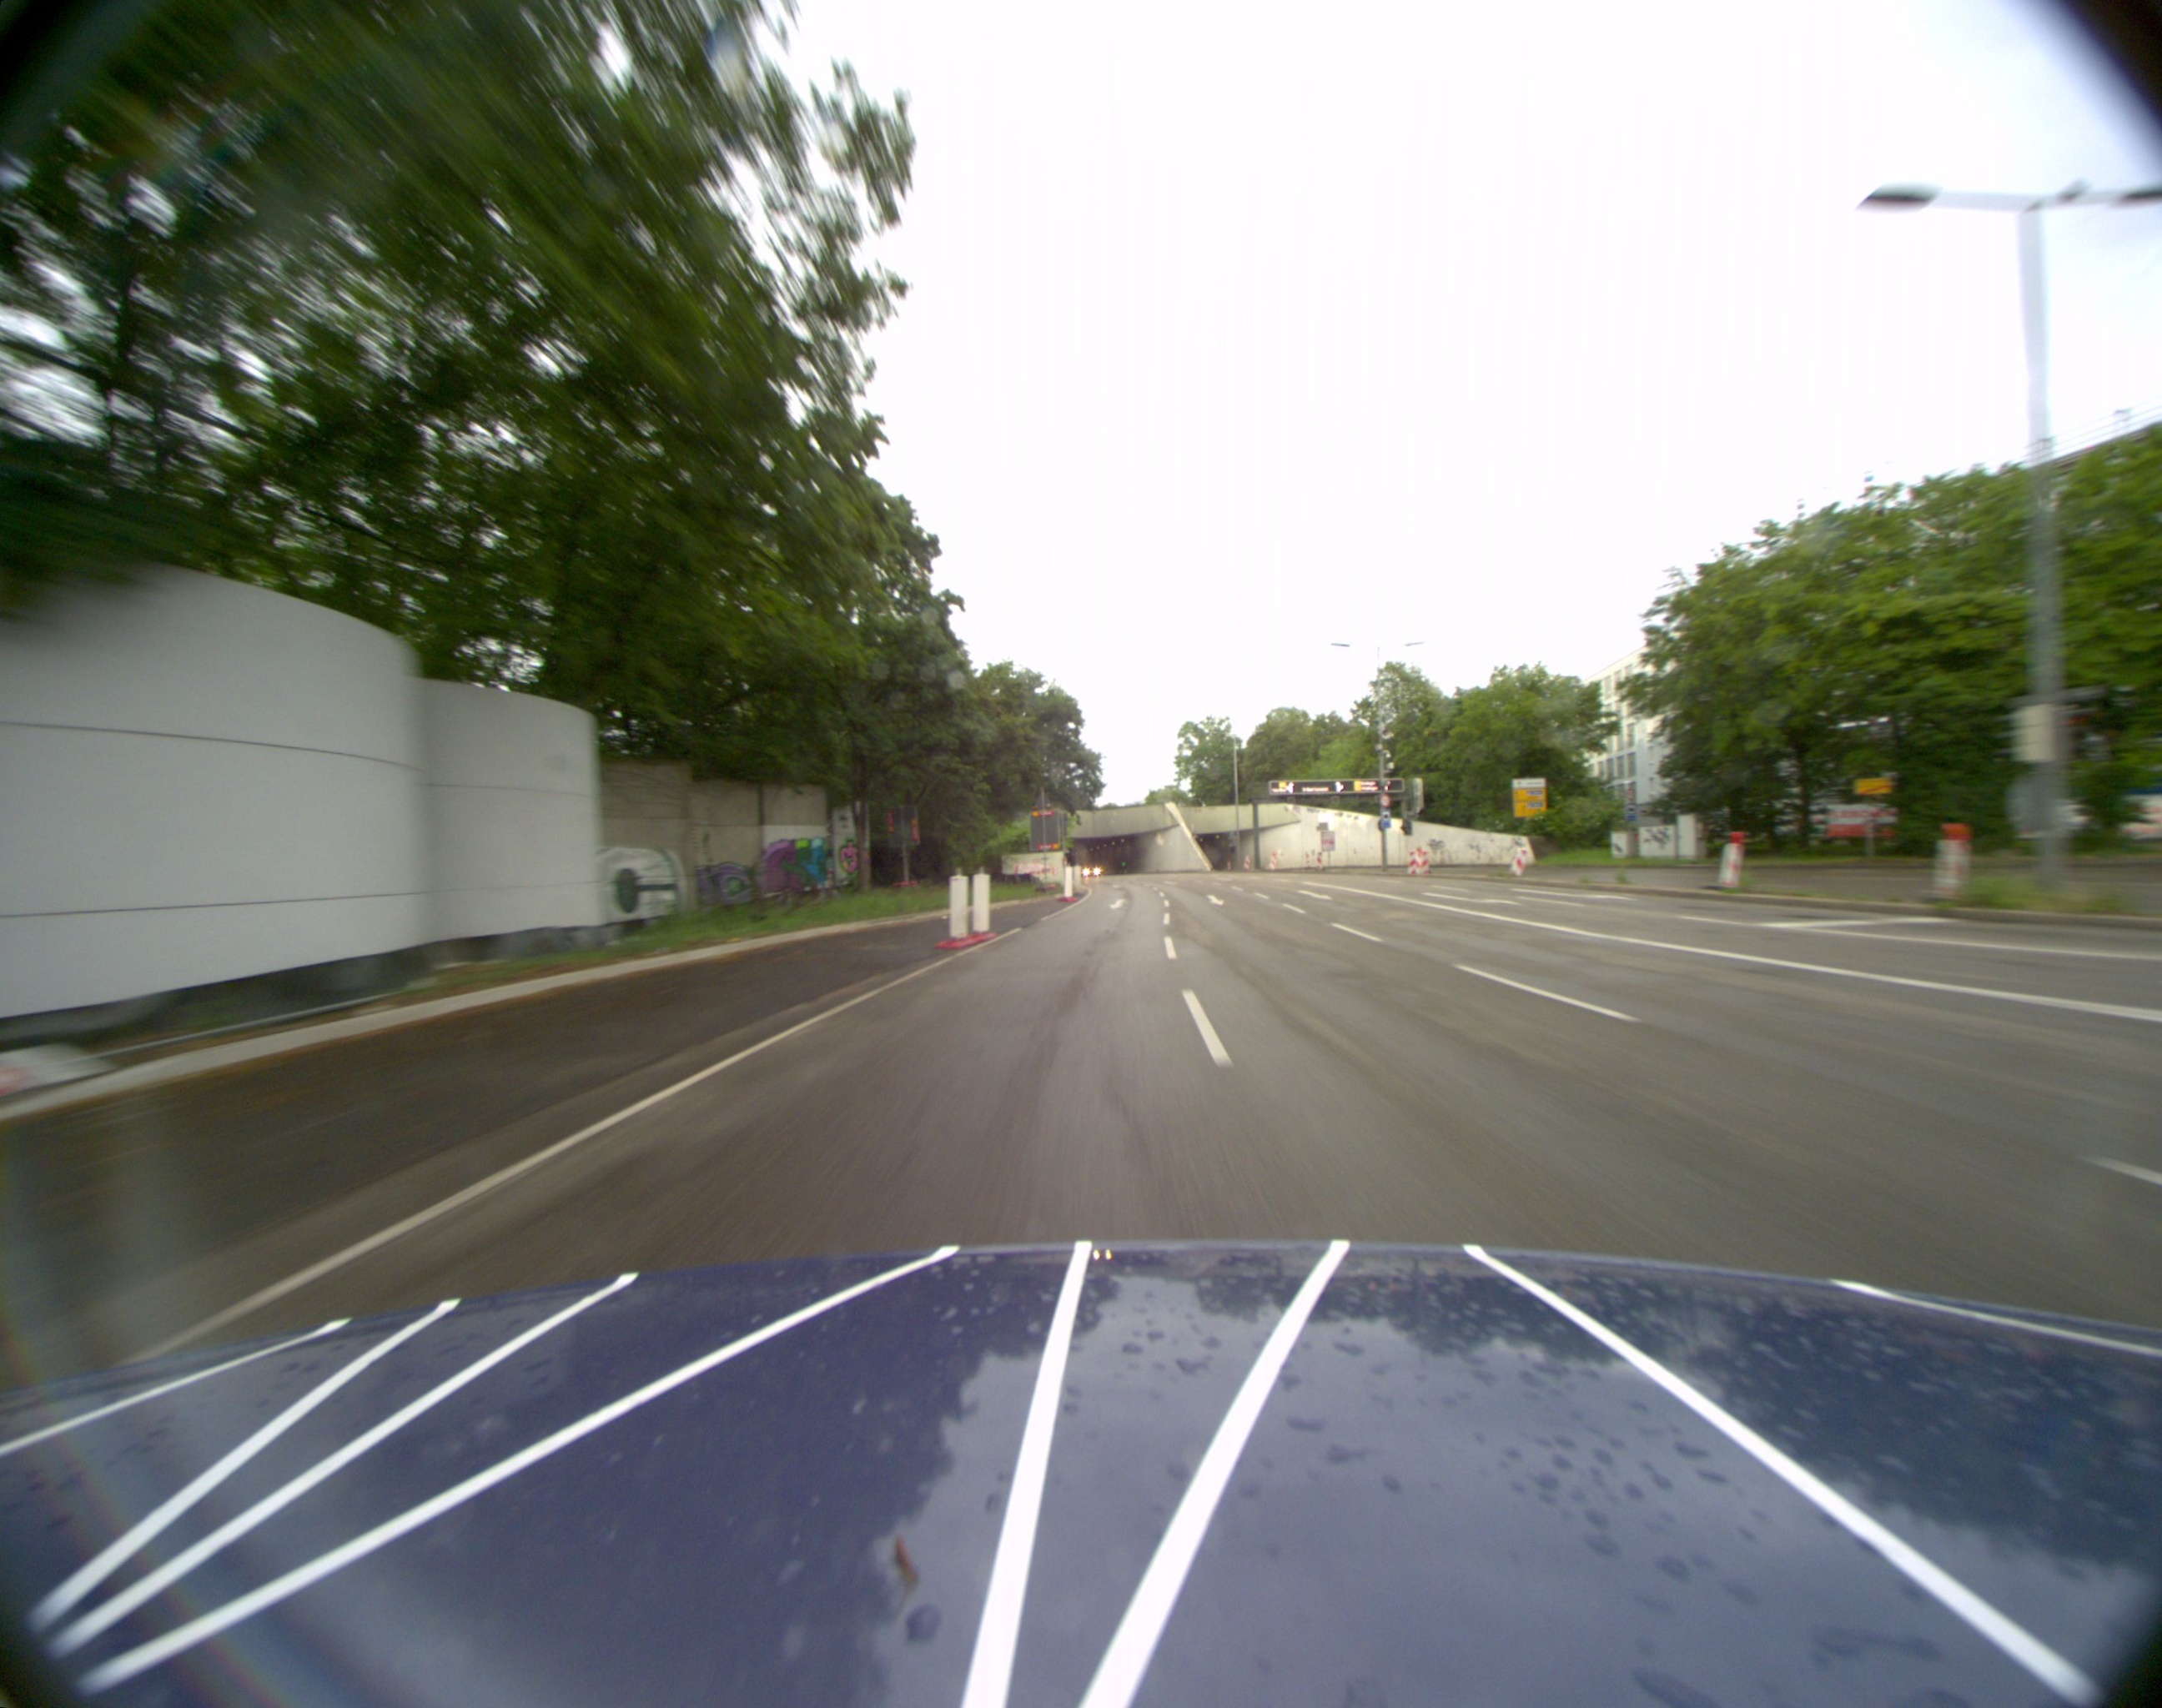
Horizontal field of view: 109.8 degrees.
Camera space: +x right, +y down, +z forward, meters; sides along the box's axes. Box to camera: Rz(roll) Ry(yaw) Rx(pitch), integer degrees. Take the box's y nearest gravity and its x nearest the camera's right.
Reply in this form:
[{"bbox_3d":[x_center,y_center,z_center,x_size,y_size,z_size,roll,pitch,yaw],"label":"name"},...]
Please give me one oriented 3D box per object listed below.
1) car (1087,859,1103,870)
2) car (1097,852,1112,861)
[{"bbox_3d":[1.751,1.354,98.546,1.698,1.393,3.823,-2,0,-4],"label":"car"},{"bbox_3d":[3.587,0.334,115.561,1.698,1.300,3.823,-2,0,-6],"label":"car"}]
